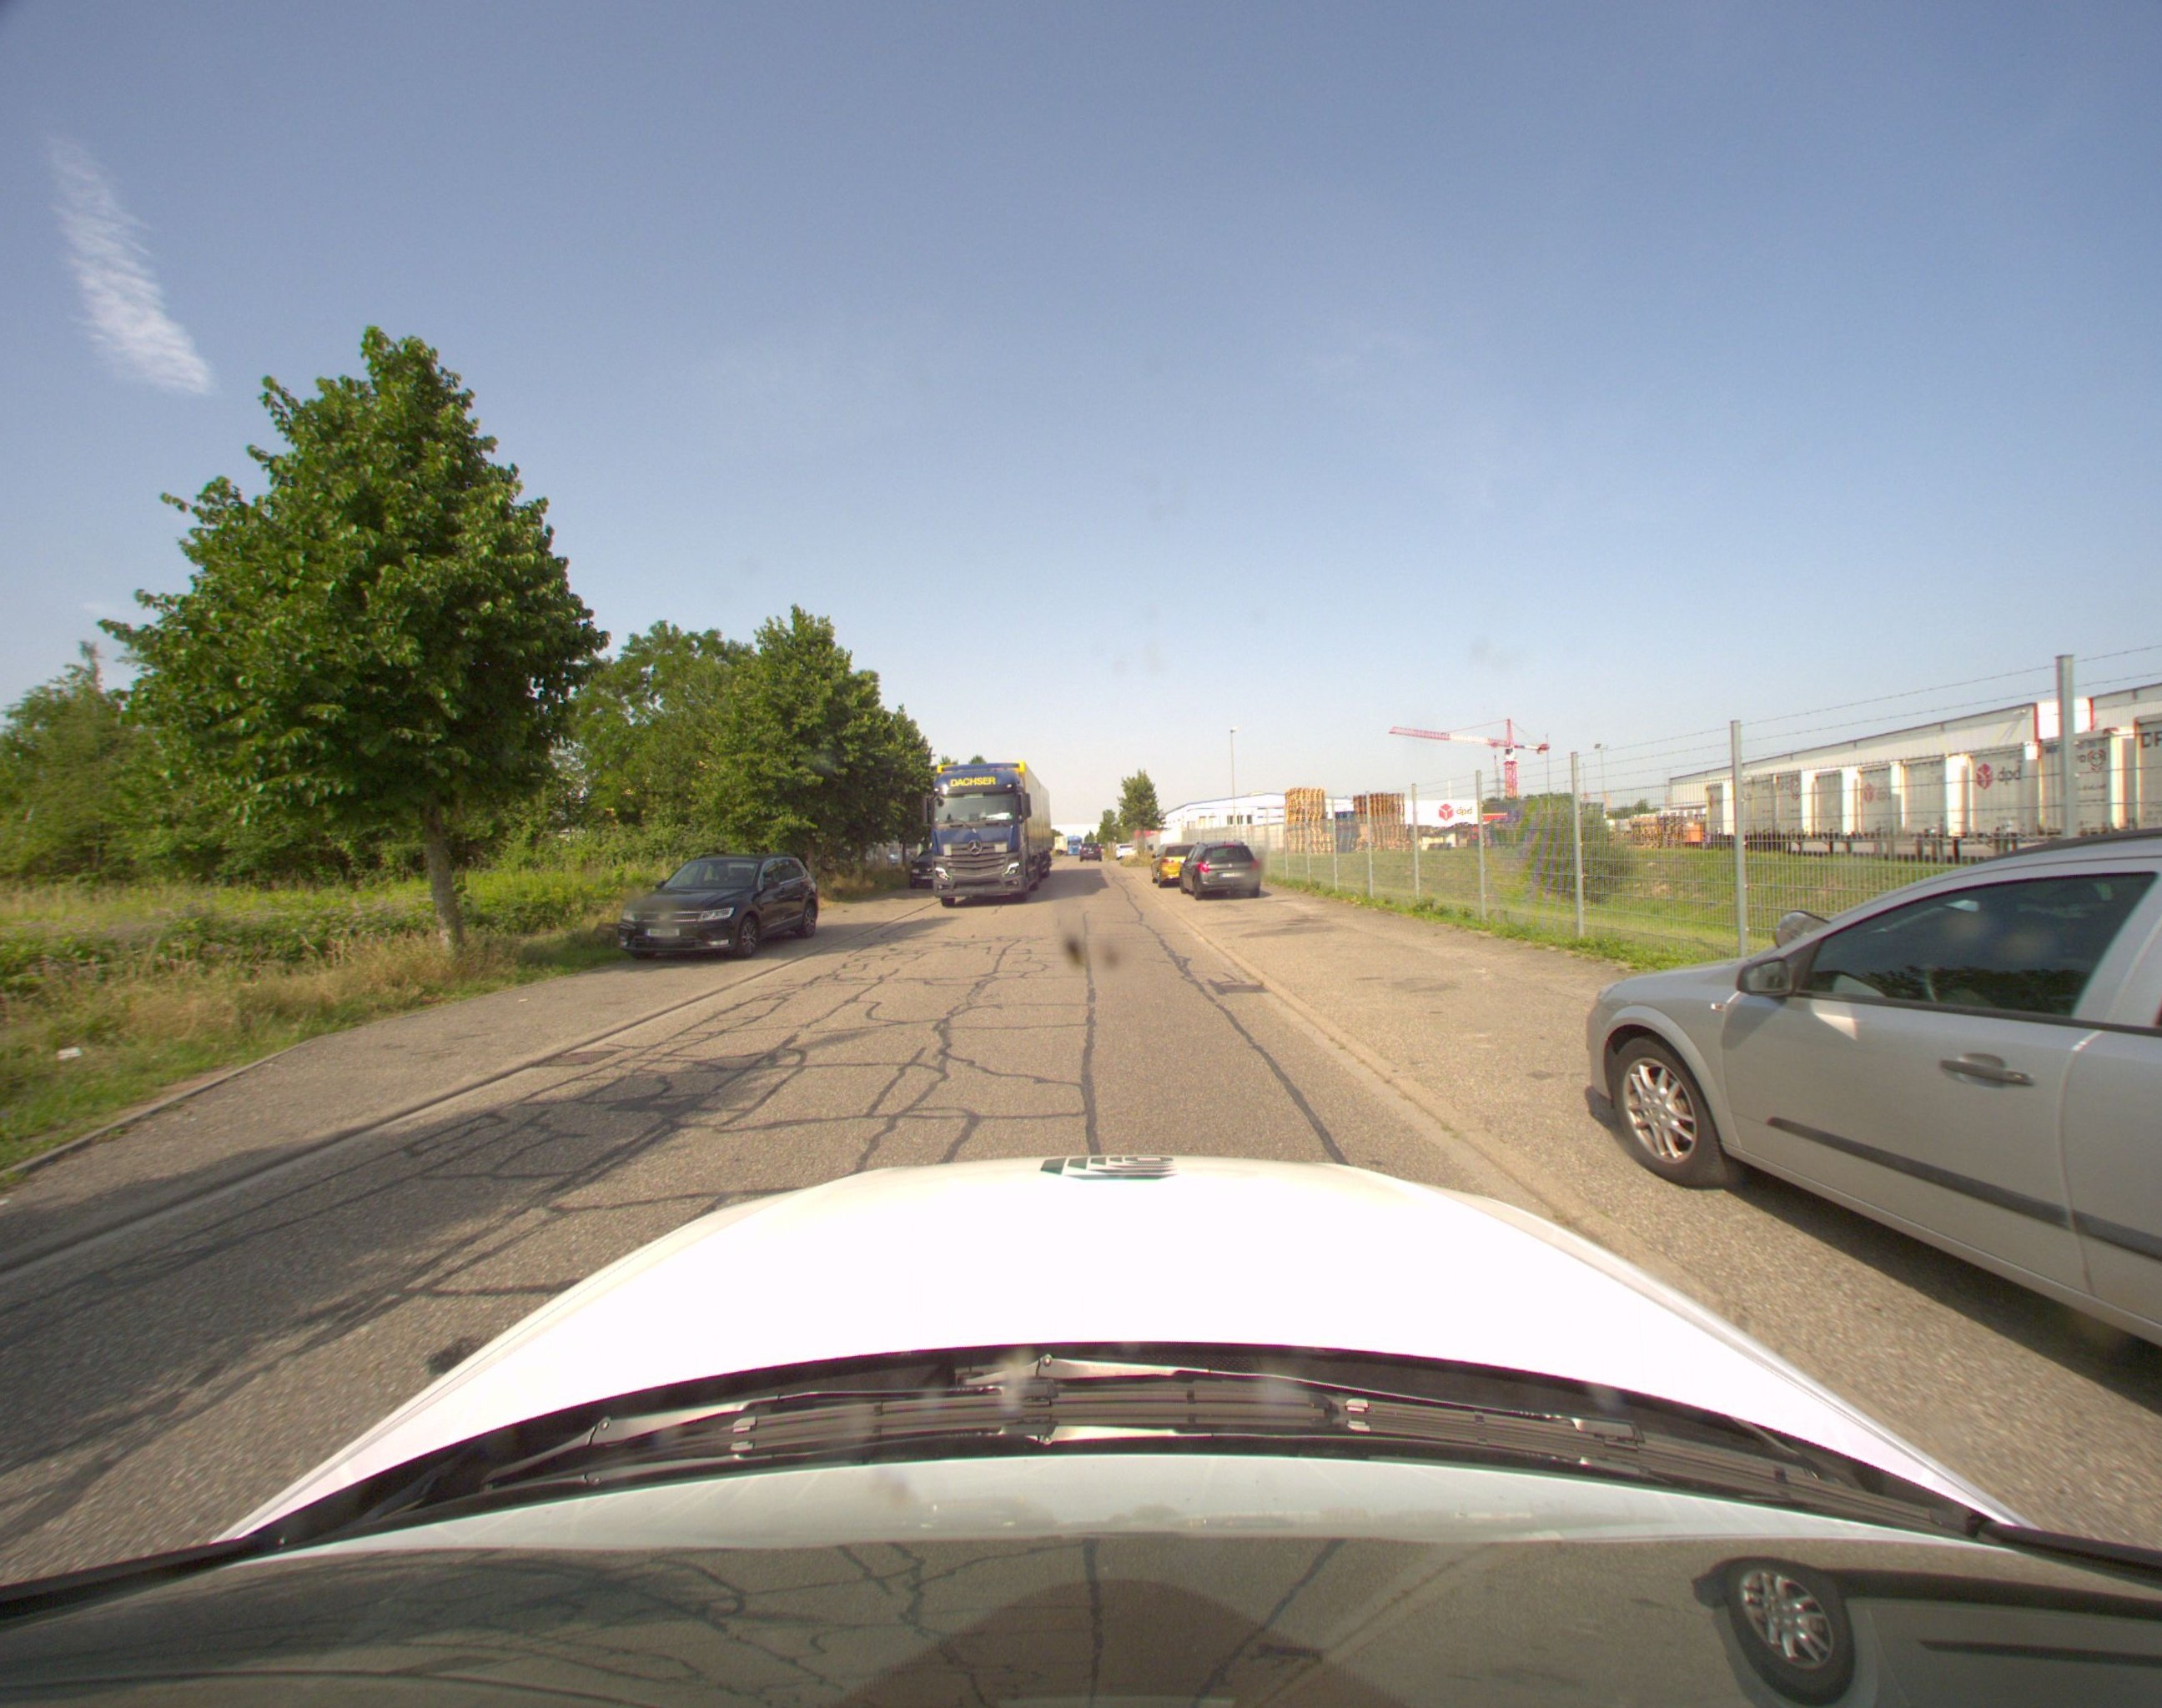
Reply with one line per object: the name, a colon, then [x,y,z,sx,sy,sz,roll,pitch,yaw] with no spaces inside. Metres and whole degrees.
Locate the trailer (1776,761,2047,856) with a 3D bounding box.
trailer: [36.157,-1.923,35.875,7.897,3.893,2.790,0,2,19]

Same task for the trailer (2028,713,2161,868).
trailer: [30.502,-1.614,20.768,7.897,3.893,2.790,0,2,19]

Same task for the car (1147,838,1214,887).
car: [3.351,0.249,28.148,1.709,1.455,4.186,-4,0,0]

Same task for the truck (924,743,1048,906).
truck: [-2.707,-0.835,26.574,2.490,4.145,10.379,-3,1,0]

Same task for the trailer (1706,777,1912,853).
trailer: [39.336,-2.057,44.371,7.897,3.893,2.756,0,2,19]

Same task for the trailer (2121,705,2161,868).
trailer: [29.504,-1.579,17.902,7.897,3.893,2.790,0,2,19]

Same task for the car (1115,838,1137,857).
car: [4.047,-0.580,73.900,1.709,1.680,3.949,-1,0,0]

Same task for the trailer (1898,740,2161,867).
trailer: [32.663,-1.600,26.667,7.897,3.893,2.790,0,2,19]

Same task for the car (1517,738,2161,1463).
car: [3.284,0.501,2.196,1.793,1.626,4.449,-4,0,0]

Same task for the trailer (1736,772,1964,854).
trailer: [38.460,-2.007,41.112,7.897,3.893,2.756,0,2,19]

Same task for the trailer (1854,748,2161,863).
trailer: [34.313,-1.718,30.075,7.897,3.893,2.790,0,2,19]

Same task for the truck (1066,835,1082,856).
truck: [-1.317,-1.606,154.132,2.870,3.760,6.081,-1,0,-1]

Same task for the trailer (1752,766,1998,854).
trailer: [37.197,-2.008,38.568,7.897,3.893,2.790,0,2,19]

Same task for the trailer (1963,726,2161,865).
trailer: [31.836,-1.675,23.727,7.897,3.893,2.790,0,2,19]

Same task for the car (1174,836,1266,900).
car: [3.730,0.341,22.517,1.710,1.515,4.002,-4,0,-1]

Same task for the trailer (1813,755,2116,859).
trailer: [35.337,-1.819,33.018,7.897,3.893,2.790,0,2,19]

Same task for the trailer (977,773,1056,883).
trailer: [-2.649,-1.057,36.027,2.490,4.145,8.497,-3,0,0]

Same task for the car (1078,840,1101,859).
car: [0.705,-0.382,70.790,1.875,1.586,4.112,-2,0,-1]

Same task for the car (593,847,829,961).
car: [-6.025,0.710,13.970,1.896,1.626,4.451,0,1,2]

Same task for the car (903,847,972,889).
car: [-5.485,0.502,31.605,1.826,1.496,4.051,0,1,2]

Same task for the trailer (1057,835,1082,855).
trailer: [-2.442,-1.767,162.488,2.880,3.760,12.032,-1,0,-11]
